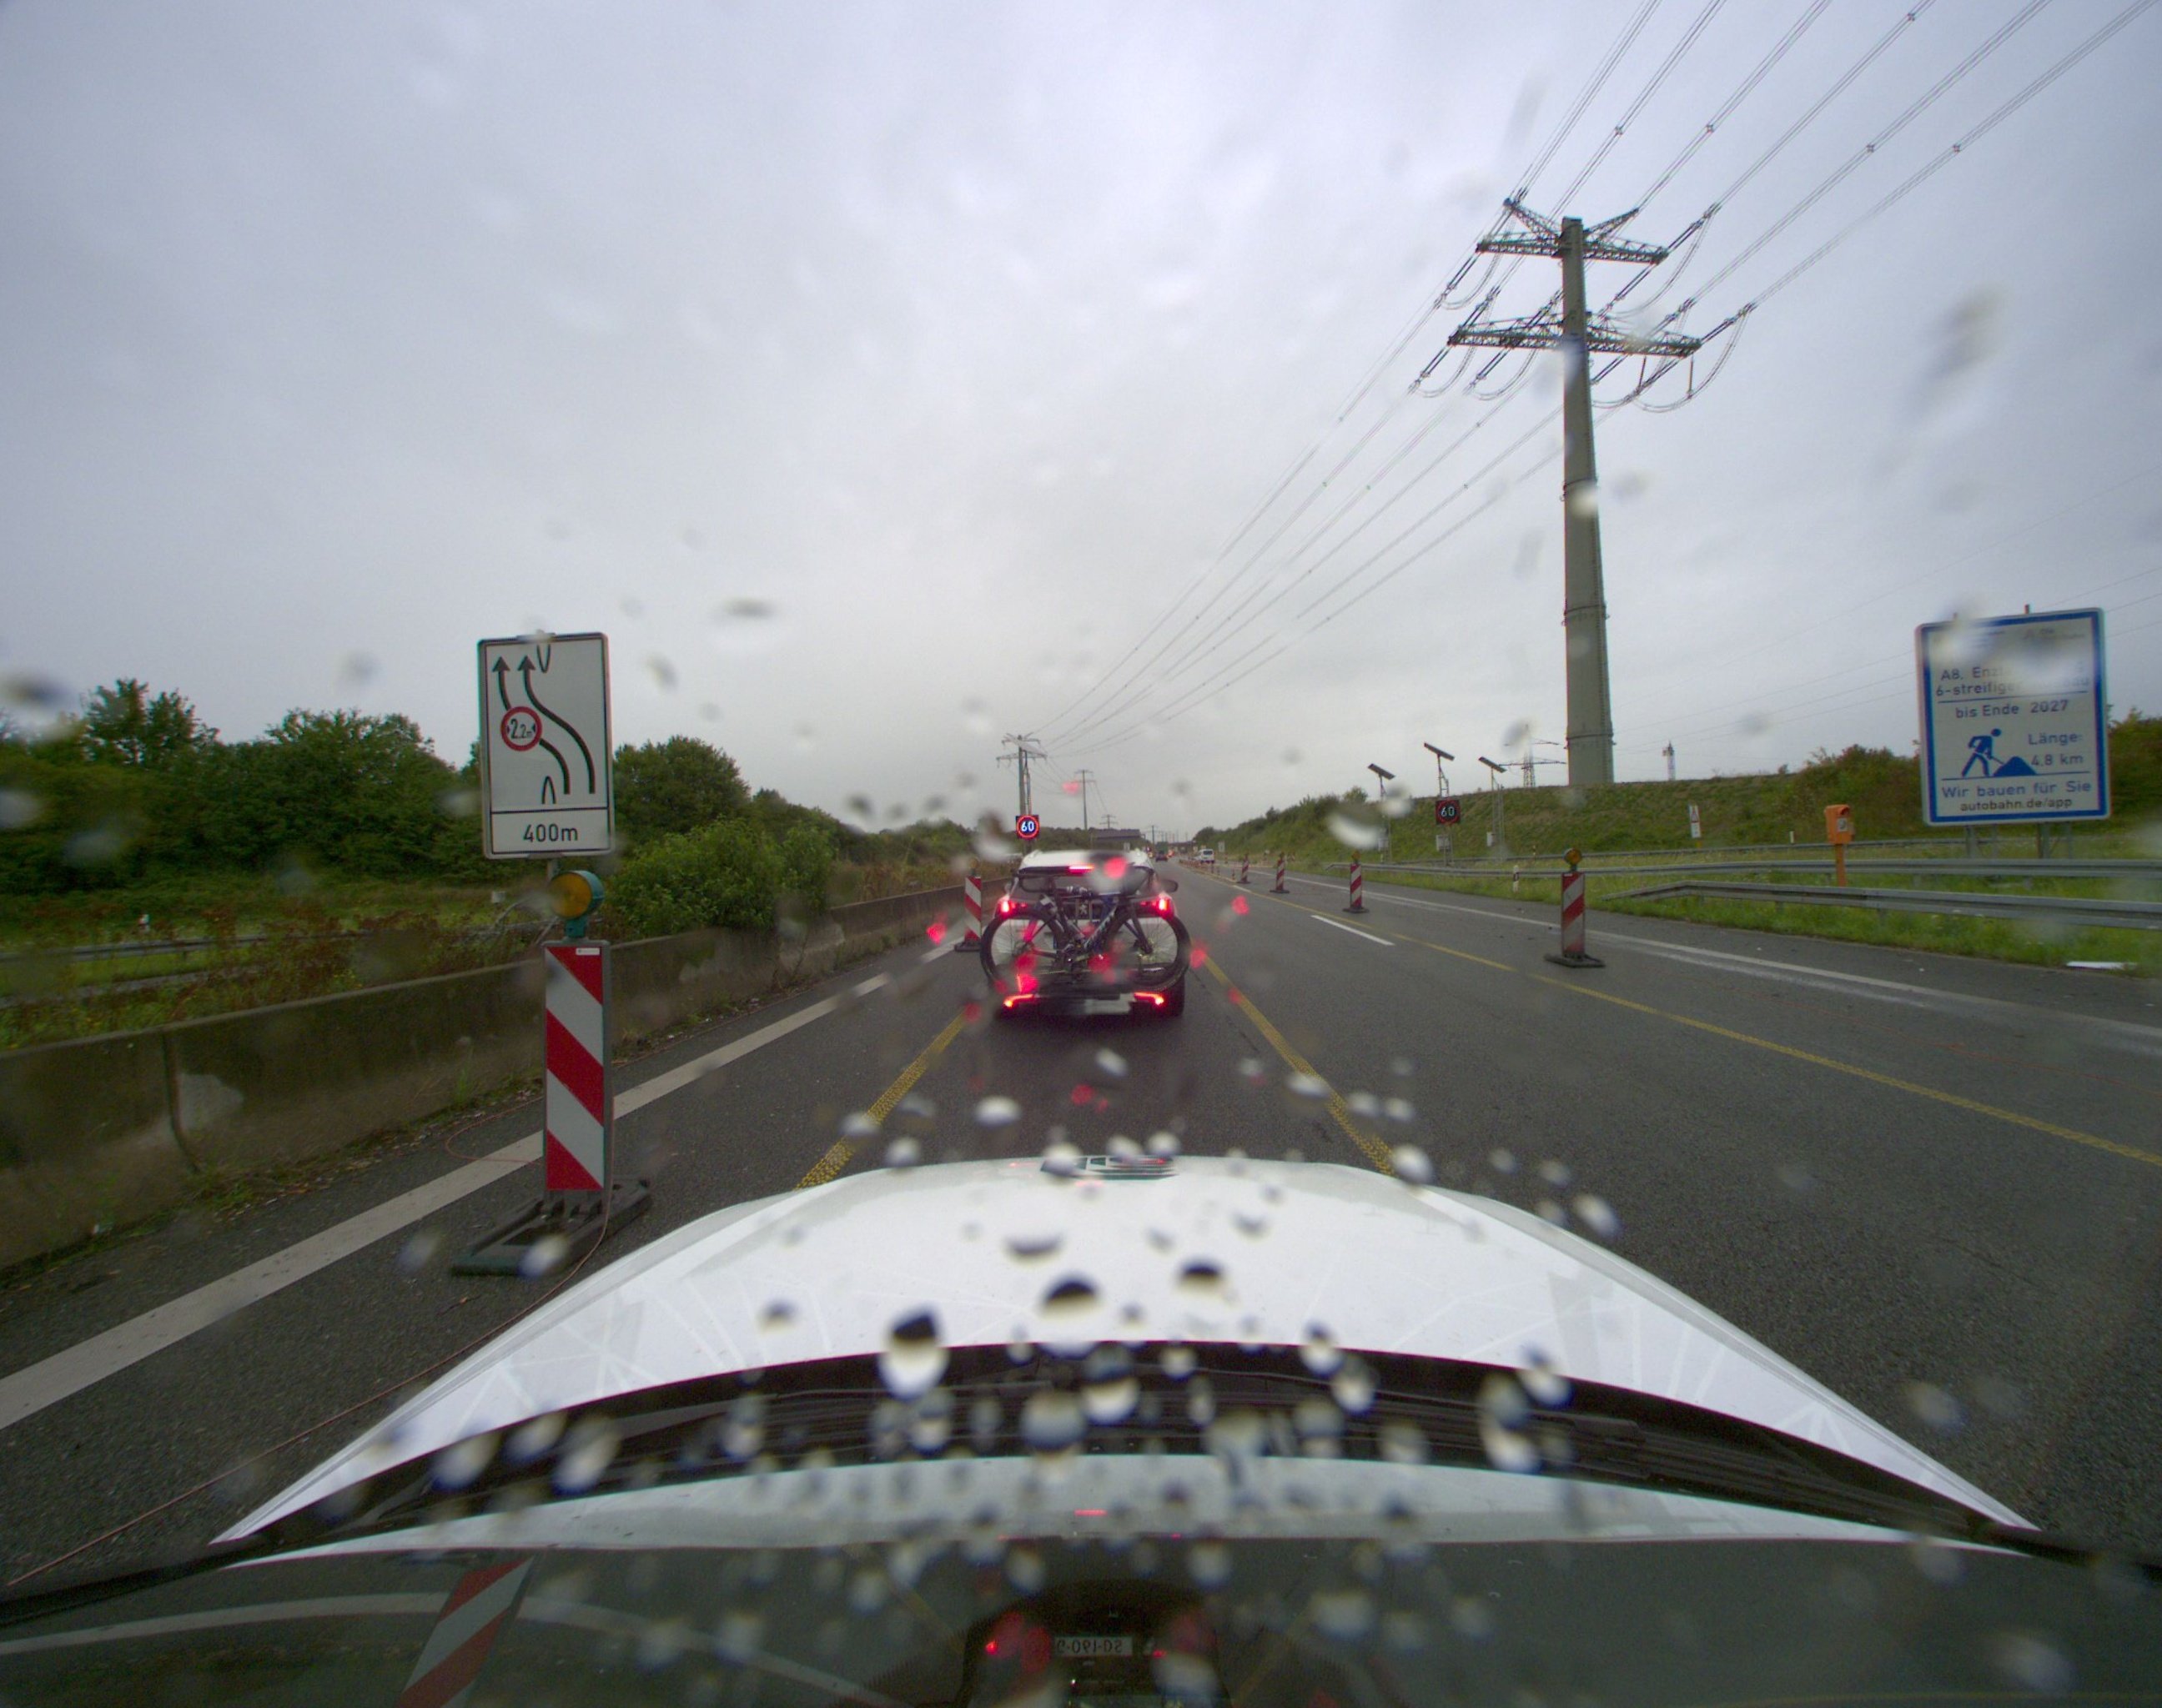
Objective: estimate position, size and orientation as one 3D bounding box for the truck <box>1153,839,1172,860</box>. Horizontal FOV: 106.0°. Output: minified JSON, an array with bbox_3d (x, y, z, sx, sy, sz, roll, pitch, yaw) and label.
[{"bbox_3d":[18.333,-1.050,183.422,3.715,3.821,11.885,0,4,4],"label":"truck"}]

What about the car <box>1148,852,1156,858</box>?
[{"bbox_3d":[19.516,0.243,224.130,1.986,1.735,3.784,-3,0,2],"label":"car"}]

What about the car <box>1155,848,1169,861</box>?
[{"bbox_3d":[13.166,0.121,132.332,1.986,2.014,4.001,0,-1,2],"label":"car"}]

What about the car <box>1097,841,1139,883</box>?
[{"bbox_3d":[1.915,0.418,42.741,1.986,2.013,4.002,-3,0,2],"label":"car"}]

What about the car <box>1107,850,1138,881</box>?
[{"bbox_3d":[2.712,0.751,53.878,1.986,2.014,4.001,0,-1,2],"label":"car"}]

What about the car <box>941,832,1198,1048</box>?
[{"bbox_3d":[0.070,0.654,8.435,1.920,1.611,4.600,-1,0,4],"label":"car"}]

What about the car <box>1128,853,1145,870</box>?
[{"bbox_3d":[6.699,0.960,98.834,1.986,2.014,4.001,0,-1,2],"label":"car"}]

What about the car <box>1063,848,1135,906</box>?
[{"bbox_3d":[0.559,0.642,24.778,1.986,1.584,4.001,-1,0,1],"label":"car"}]

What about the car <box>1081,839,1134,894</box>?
[{"bbox_3d":[1.085,0.487,33.439,1.986,2.013,4.002,-3,0,2],"label":"car"}]

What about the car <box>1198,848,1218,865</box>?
[{"bbox_3d":[16.224,0.354,103.977,1.986,2.013,4.002,-3,0,2],"label":"car"}]

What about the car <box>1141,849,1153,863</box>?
[{"bbox_3d":[10.436,0.314,128.475,1.645,2.013,4.006,-1,0,6],"label":"car"}]

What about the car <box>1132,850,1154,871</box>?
[{"bbox_3d":[6.419,0.687,85.053,1.987,2.014,4.000,-3,-2,1],"label":"car"}]

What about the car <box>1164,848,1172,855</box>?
[{"bbox_3d":[25.632,-0.646,239.223,1.986,2.013,4.002,-1,0,2],"label":"car"}]
